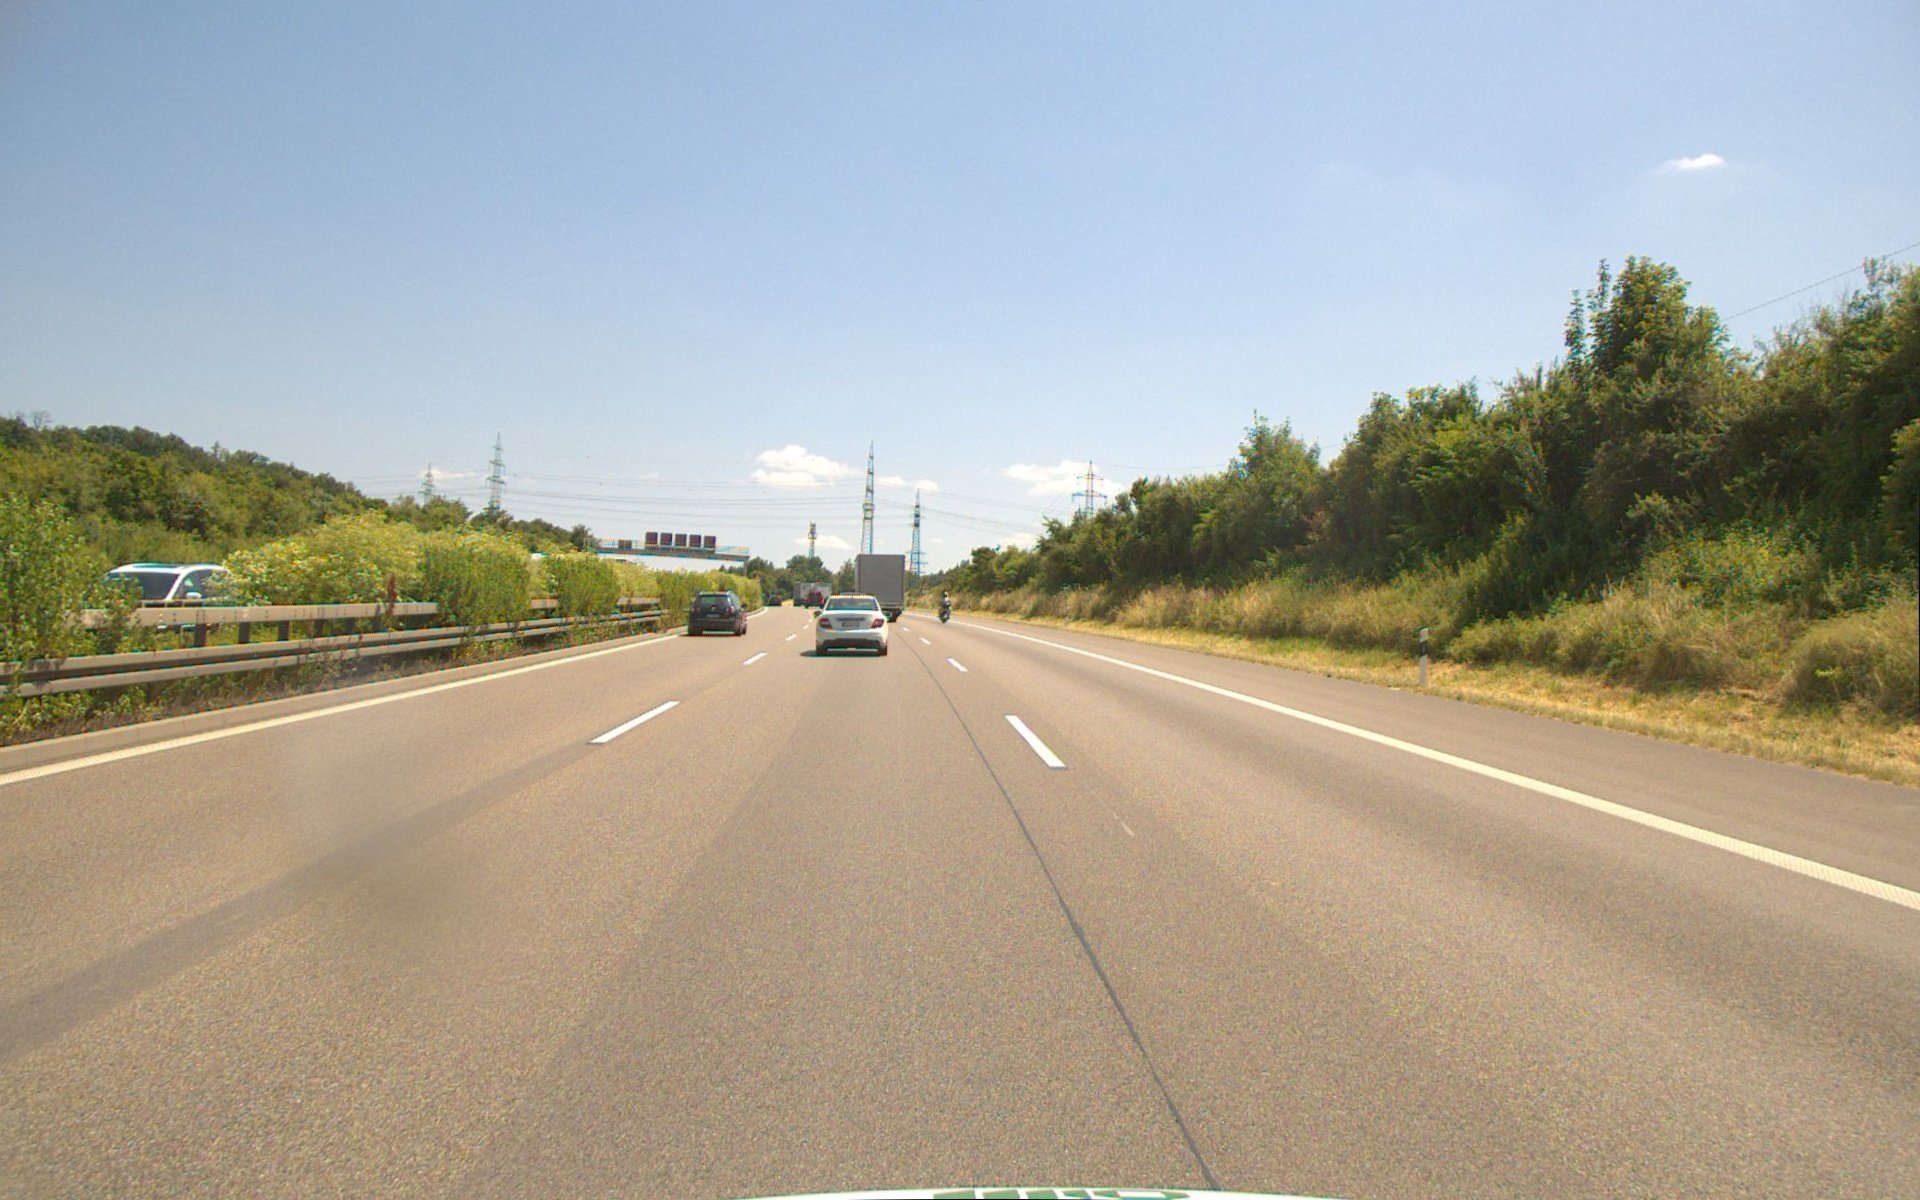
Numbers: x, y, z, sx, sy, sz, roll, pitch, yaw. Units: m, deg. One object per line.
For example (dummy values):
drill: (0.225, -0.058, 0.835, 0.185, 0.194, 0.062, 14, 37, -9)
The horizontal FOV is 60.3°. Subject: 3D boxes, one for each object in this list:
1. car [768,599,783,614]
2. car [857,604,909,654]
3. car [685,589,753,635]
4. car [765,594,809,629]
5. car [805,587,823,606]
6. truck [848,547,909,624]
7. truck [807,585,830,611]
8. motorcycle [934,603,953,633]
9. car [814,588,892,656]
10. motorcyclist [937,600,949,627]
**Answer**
car: (-24.890, 0.861, 223.149, 1.955, 1.892, 3.994, 1, 0, -7)
car: (-3.368, 1.216, 71.635, 1.955, 2.049, 3.994, 0, 0, -7)
car: (-8.116, 0.380, 55.965, 1.720, 1.454, 4.000, 1, 0, 0)
car: (-7.941, 0.512, 76.291, 1.802, 1.567, 3.912, 1, 0, -3)
car: (-15.764, -0.412, 178.444, 1.864, 1.959, 3.996, 0, 0, -5)
truck: (-4.555, -0.728, 91.165, 3.157, 3.993, 9.053, 1, 0, -4)
truck: (-21.777, -0.322, 255.197, 3.416, 3.981, 7.281, 1, 0, -5)
motorcycle: (-0.906, 0.992, 91.089, 0.794, 1.635, 1.779, 1, 0, -8)
car: (-2.608, 0.510, 40.582, 1.783, 1.567, 3.912, 1, 0, -3)
motorcyclist: (-0.939, 0.730, 90.937, 0.561, 1.505, 0.699, 0, 0, -8)
